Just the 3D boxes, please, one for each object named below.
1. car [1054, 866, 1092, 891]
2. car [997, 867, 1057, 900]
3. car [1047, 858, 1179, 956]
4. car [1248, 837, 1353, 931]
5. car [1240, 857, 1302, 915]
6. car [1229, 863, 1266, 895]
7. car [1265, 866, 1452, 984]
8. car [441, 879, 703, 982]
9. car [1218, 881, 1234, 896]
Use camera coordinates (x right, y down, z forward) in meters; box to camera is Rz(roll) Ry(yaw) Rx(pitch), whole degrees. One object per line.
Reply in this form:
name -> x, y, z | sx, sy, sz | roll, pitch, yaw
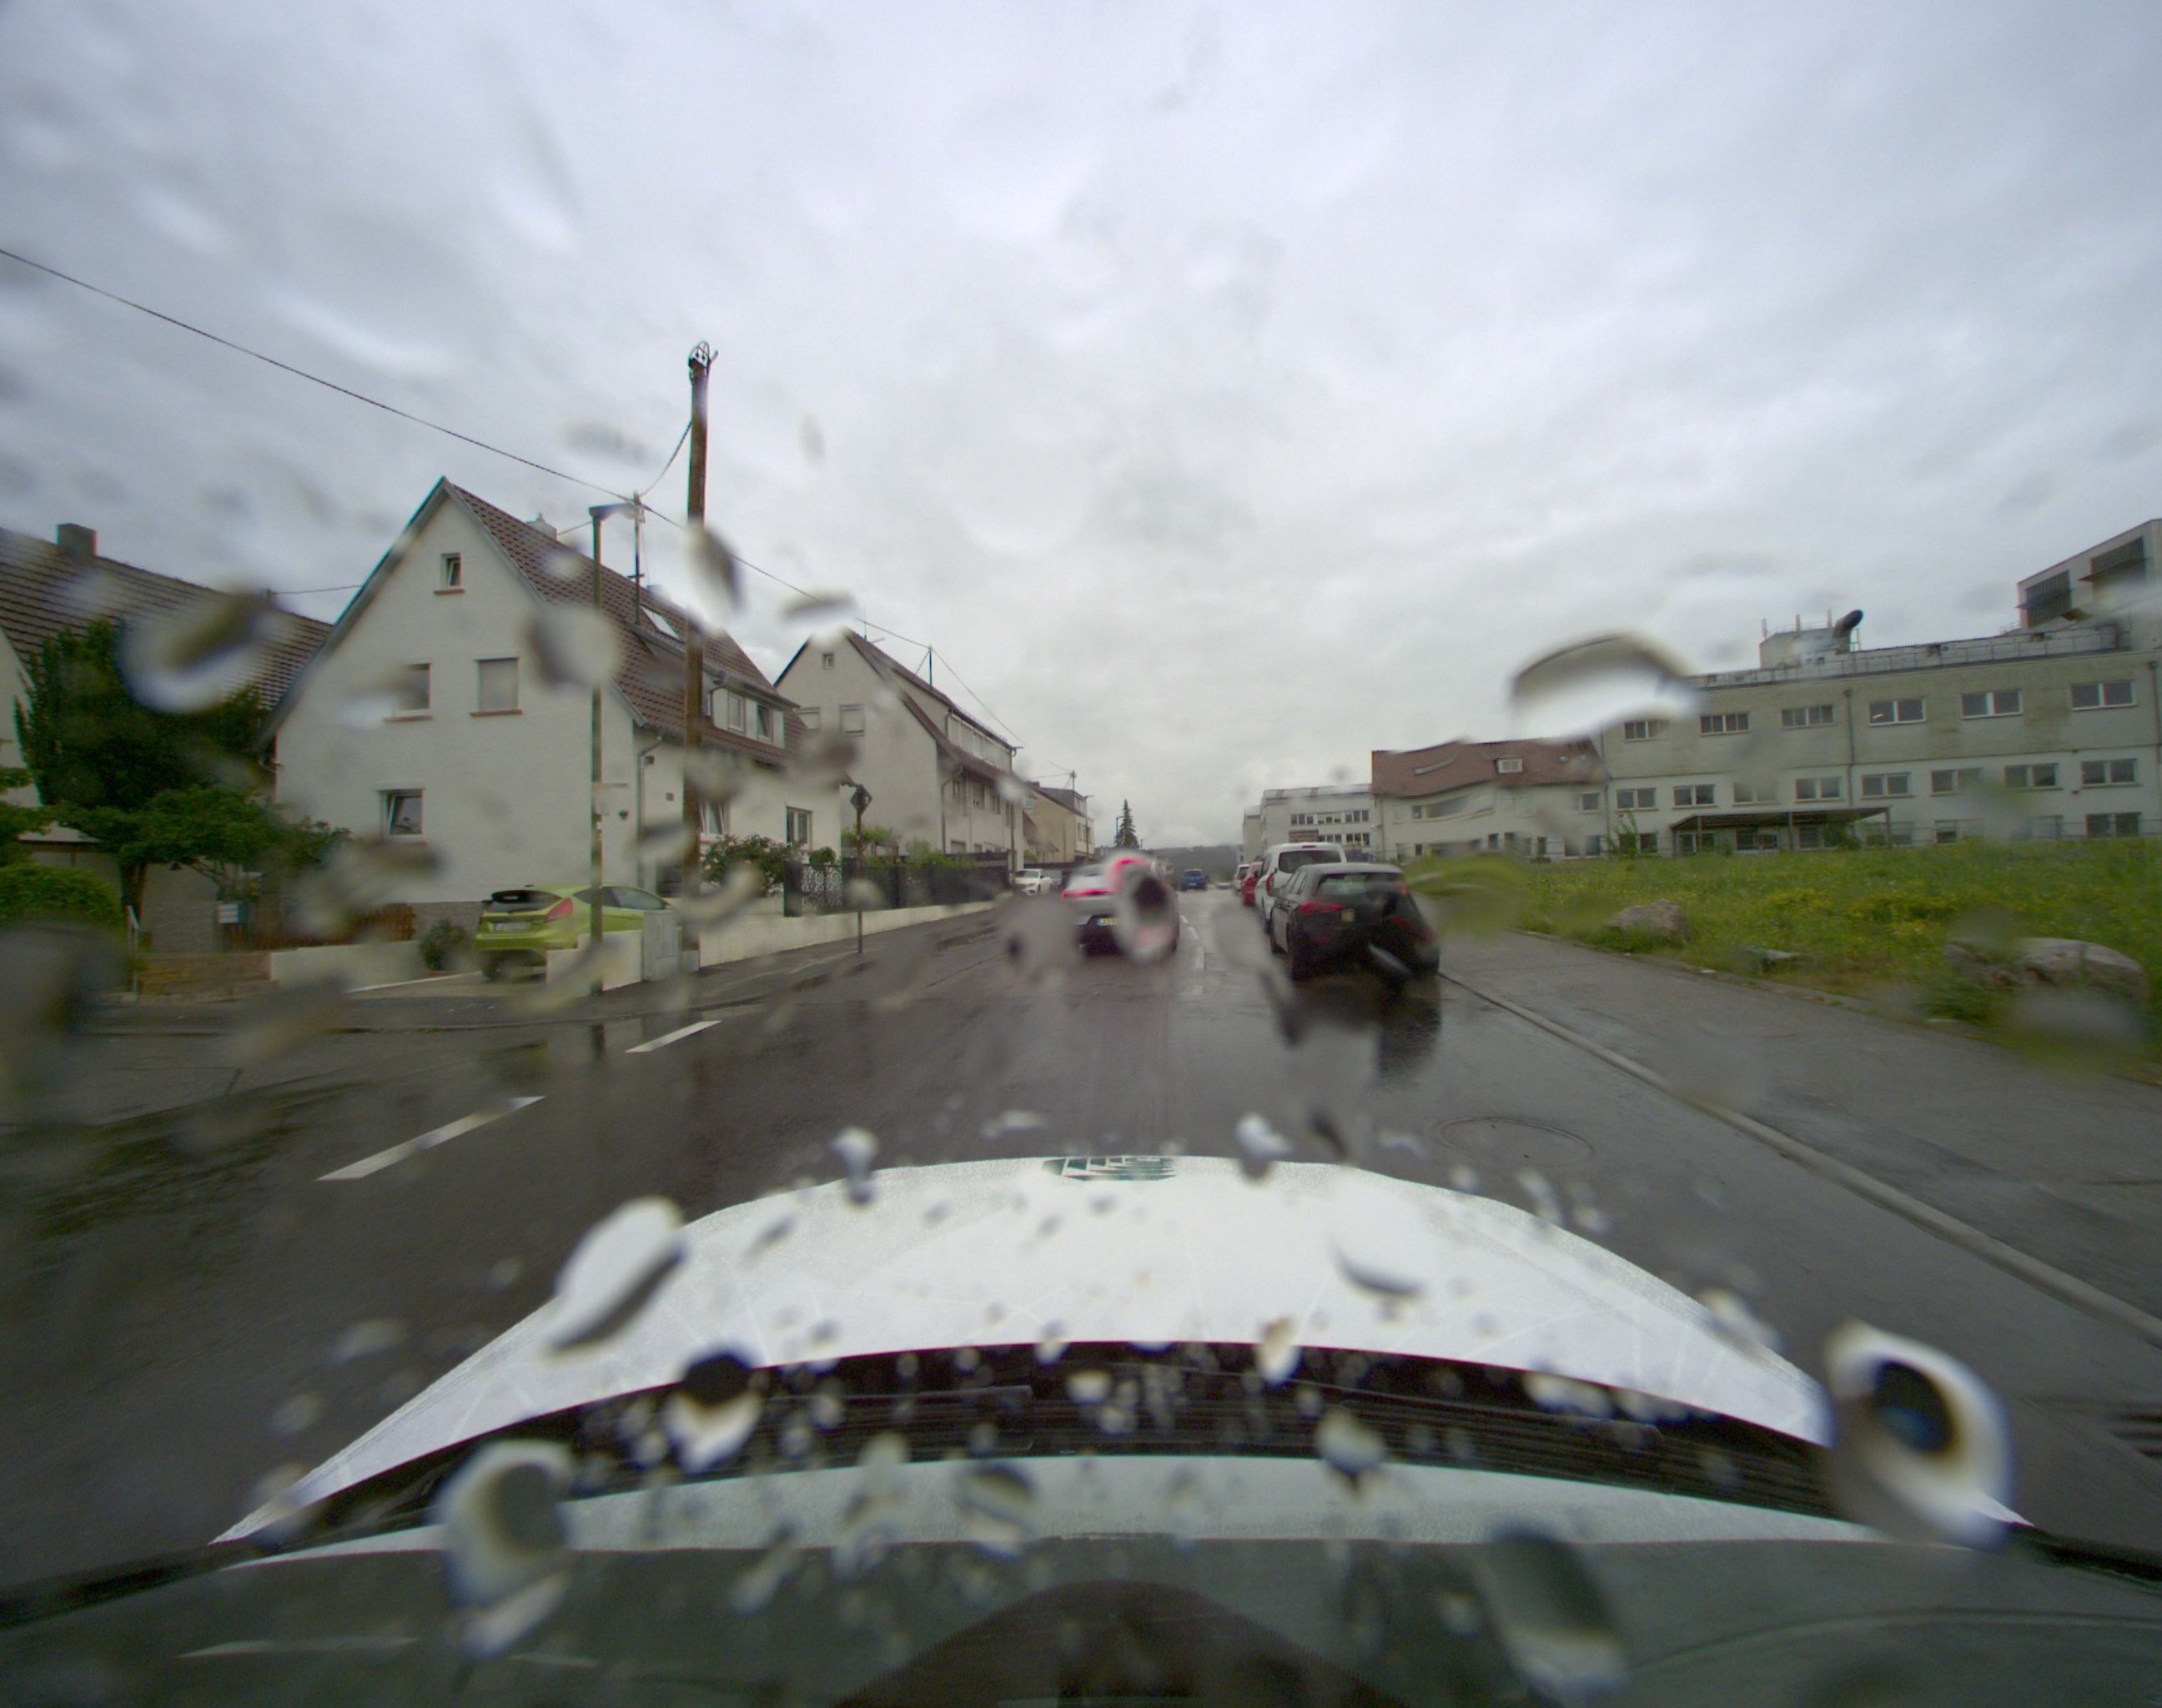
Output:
car -> -0.440, 1.440, 48.709 | 1.818, 1.368, 4.575 | 1, -1, 5
car -> -2.653, 1.449, 41.394 | 1.982, 1.510, 4.907 | 1, -1, 9
car -> 0.773, 0.885, 15.169 | 1.982, 1.502, 4.679 | -2, -1, 8
car -> 4.742, 0.633, 18.174 | 1.758, 1.825, 4.585 | -1, -1, 9
car -> 5.656, 0.930, 24.661 | 1.632, 1.575, 4.657 | -1, -1, 11
car -> 8.555, 1.262, 42.055 | 1.671, 1.557, 3.683 | -1, -1, 9
car -> 3.646, 0.846, 11.476 | 1.758, 1.336, 4.331 | -1, -1, 9
car -> -8.138, 1.160, 13.432 | 1.768, 1.467, 3.466 | -2, -2, 10
car -> 21.753, 5.145, 122.403 | 1.984, 2.014, 4.005 | -3, -5, 6
